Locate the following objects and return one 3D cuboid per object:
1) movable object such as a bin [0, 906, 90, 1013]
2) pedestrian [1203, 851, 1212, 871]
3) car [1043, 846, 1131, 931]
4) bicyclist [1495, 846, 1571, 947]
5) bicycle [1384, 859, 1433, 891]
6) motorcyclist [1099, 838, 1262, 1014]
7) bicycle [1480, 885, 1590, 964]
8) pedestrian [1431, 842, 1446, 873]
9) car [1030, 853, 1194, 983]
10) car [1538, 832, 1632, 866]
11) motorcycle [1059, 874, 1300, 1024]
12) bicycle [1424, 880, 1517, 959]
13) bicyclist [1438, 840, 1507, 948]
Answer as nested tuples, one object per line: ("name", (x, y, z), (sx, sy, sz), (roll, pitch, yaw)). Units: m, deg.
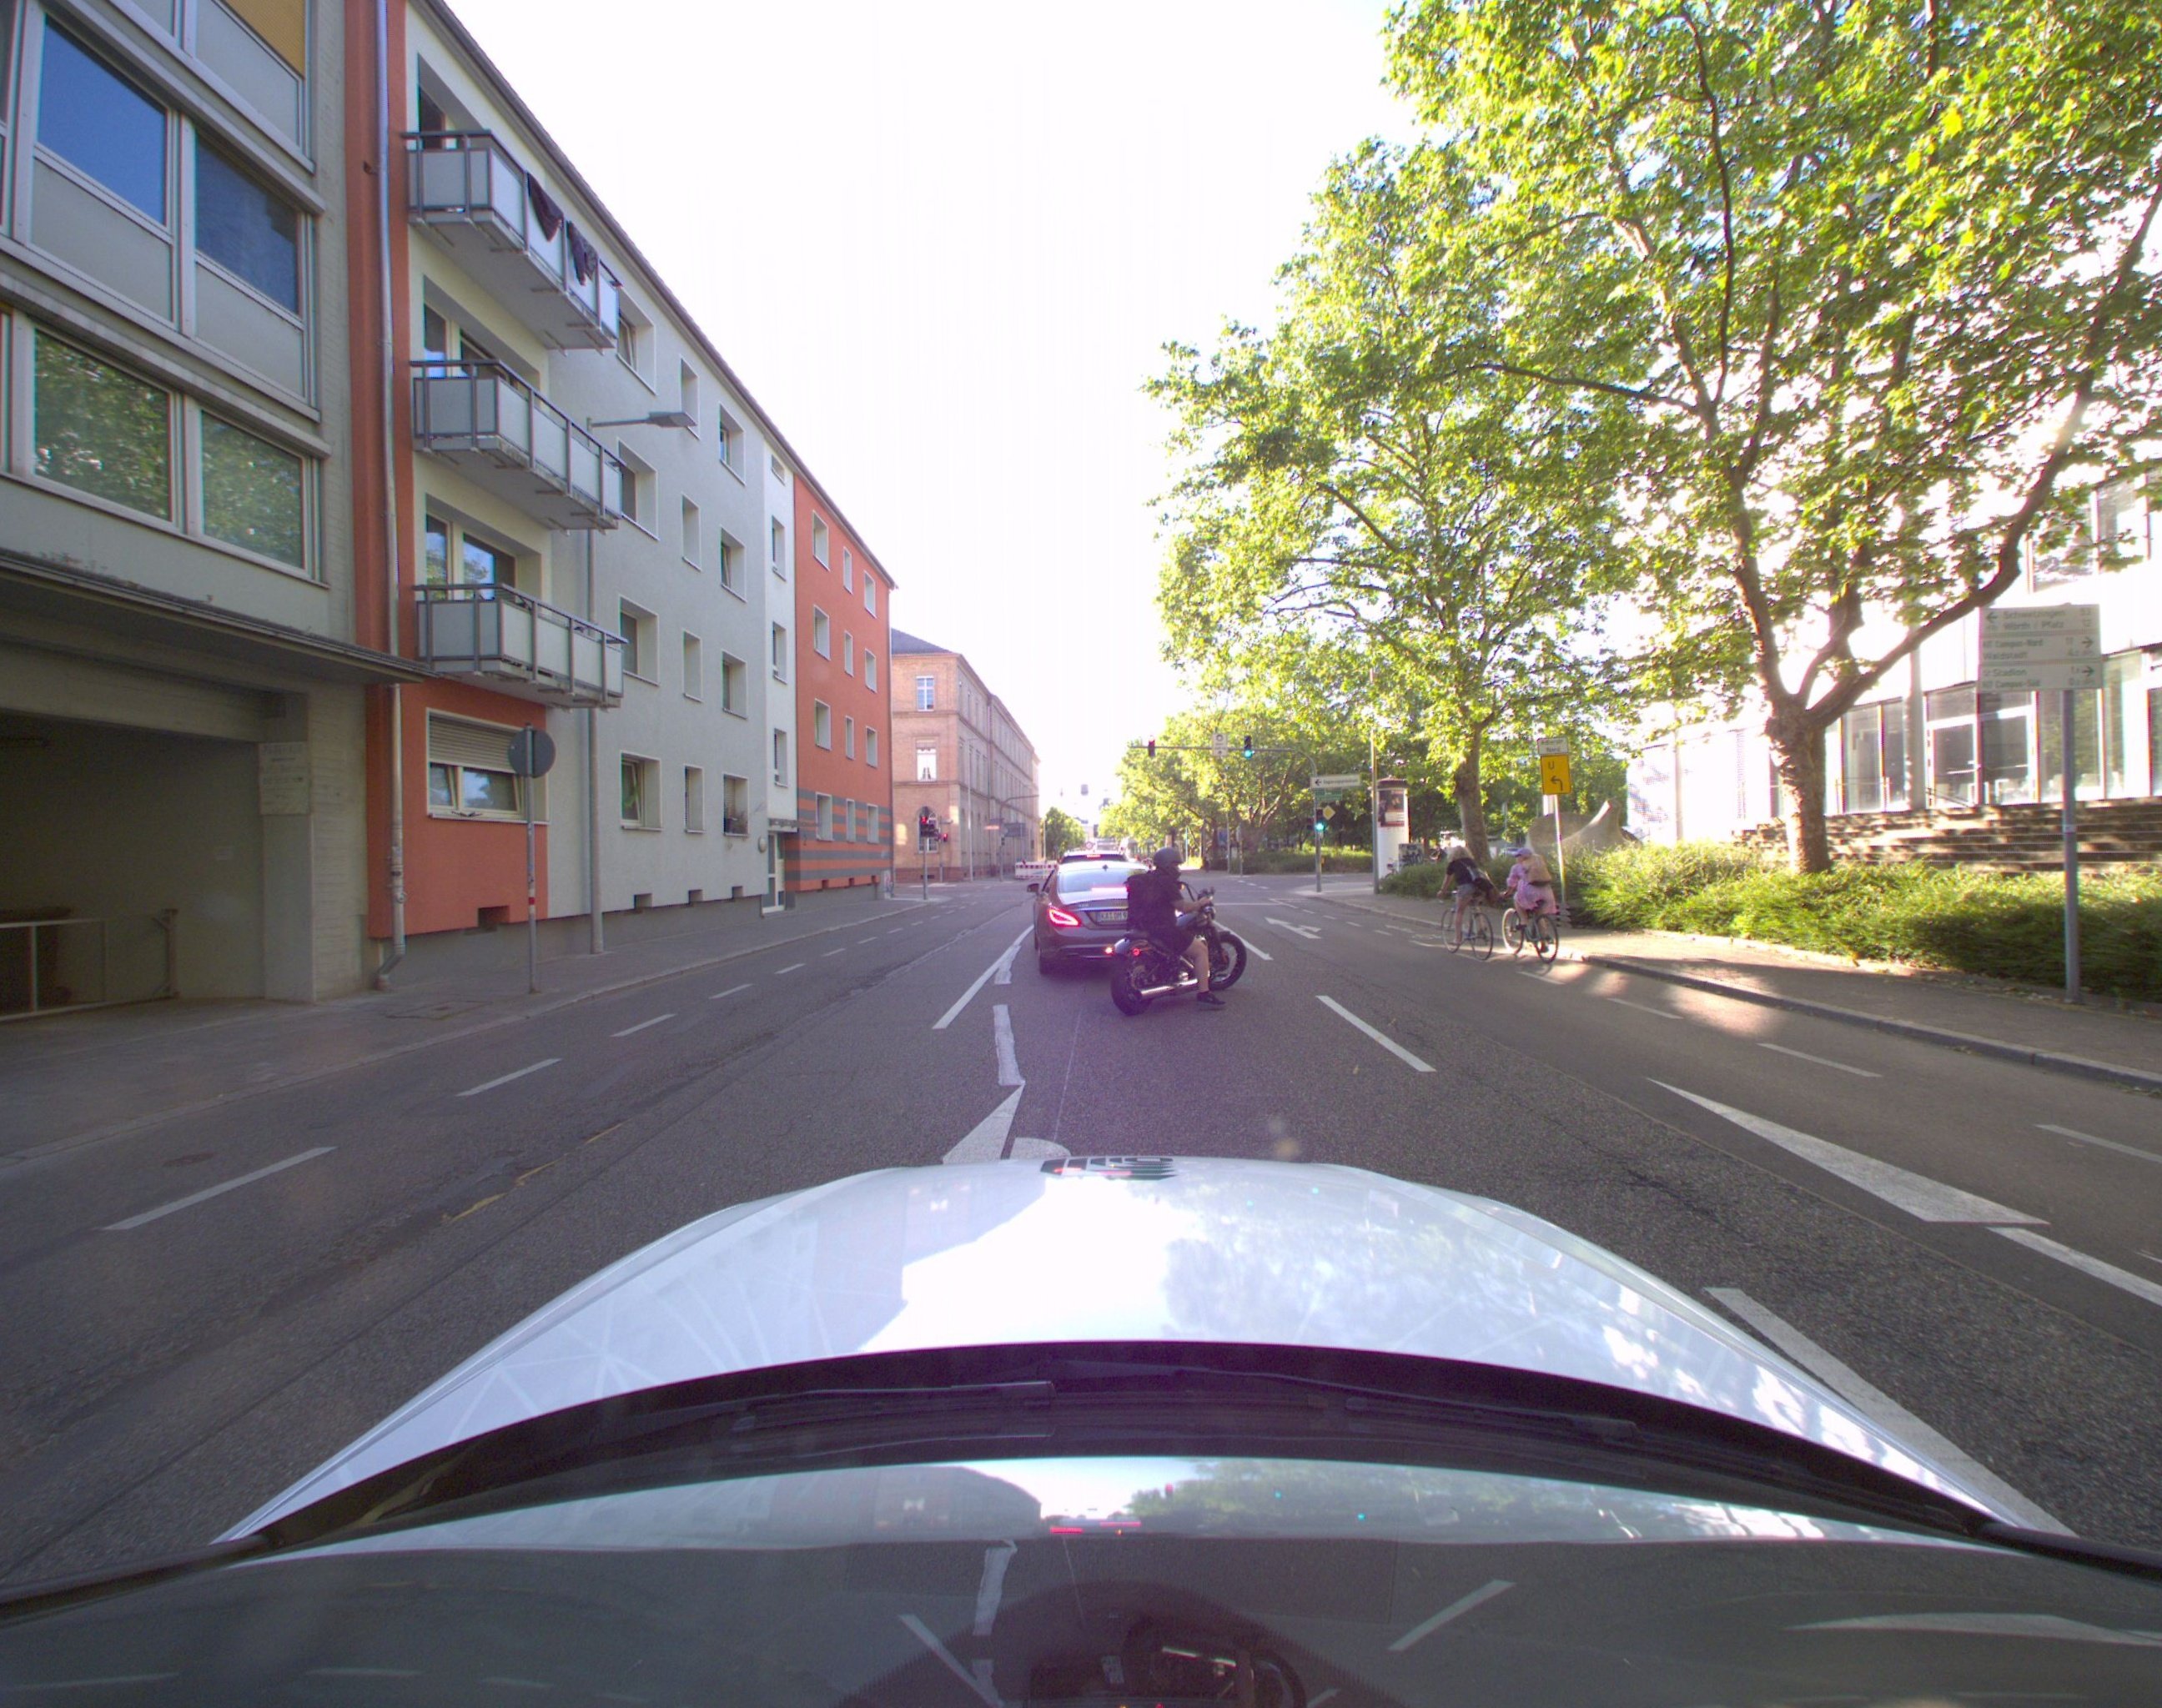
("movable object such as a bin", (-11.217, 1.100, 8.615), (0.584, 1.040, 0.712), (-1, 0, 2))
("pedestrian", (10.409, 0.580, 67.037), (0.557, 1.678, 0.565), (-1, 0, 1))
("car", (0.143, 0.672, 17.695), (1.676, 1.625, 3.841), (-1, 0, 1))
("bicyclist", (6.504, 0.590, 11.748), (0.598, 1.402, 0.931), (1, 0, 2))
("bicycle", (10.984, 0.706, 27.331), (1.411, 1.037, 0.538), (-1, 0, -2))
("motorcyclist", (1.016, 0.655, 8.272), (1.103, 1.613, 1.209), (-1, 0, 45))
("bicycle", (6.507, 0.975, 11.796), (0.598, 0.985, 1.882), (1, 0, 2))
("pedestrian", (21.015, 0.200, 47.924), (0.617, 1.784, 0.631), (-1, 0, 4))
("car", (0.237, 0.753, 11.750), (1.818, 1.476, 4.346), (-1, 0, -5))
("car", (28.124, -0.256, 45.573), (3.975, 1.784, 2.004), (-1, 0, 7))
("motorcycle", (1.094, 0.852, 8.339), (0.998, 1.204, 2.681), (-1, 0, 45))
("bicycle", (5.725, 0.927, 12.078), (0.608, 1.026, 1.732), (0, 0, 2))
("bicyclist", (5.722, 0.561, 11.949), (0.608, 1.516, 0.890), (0, 0, 2))
